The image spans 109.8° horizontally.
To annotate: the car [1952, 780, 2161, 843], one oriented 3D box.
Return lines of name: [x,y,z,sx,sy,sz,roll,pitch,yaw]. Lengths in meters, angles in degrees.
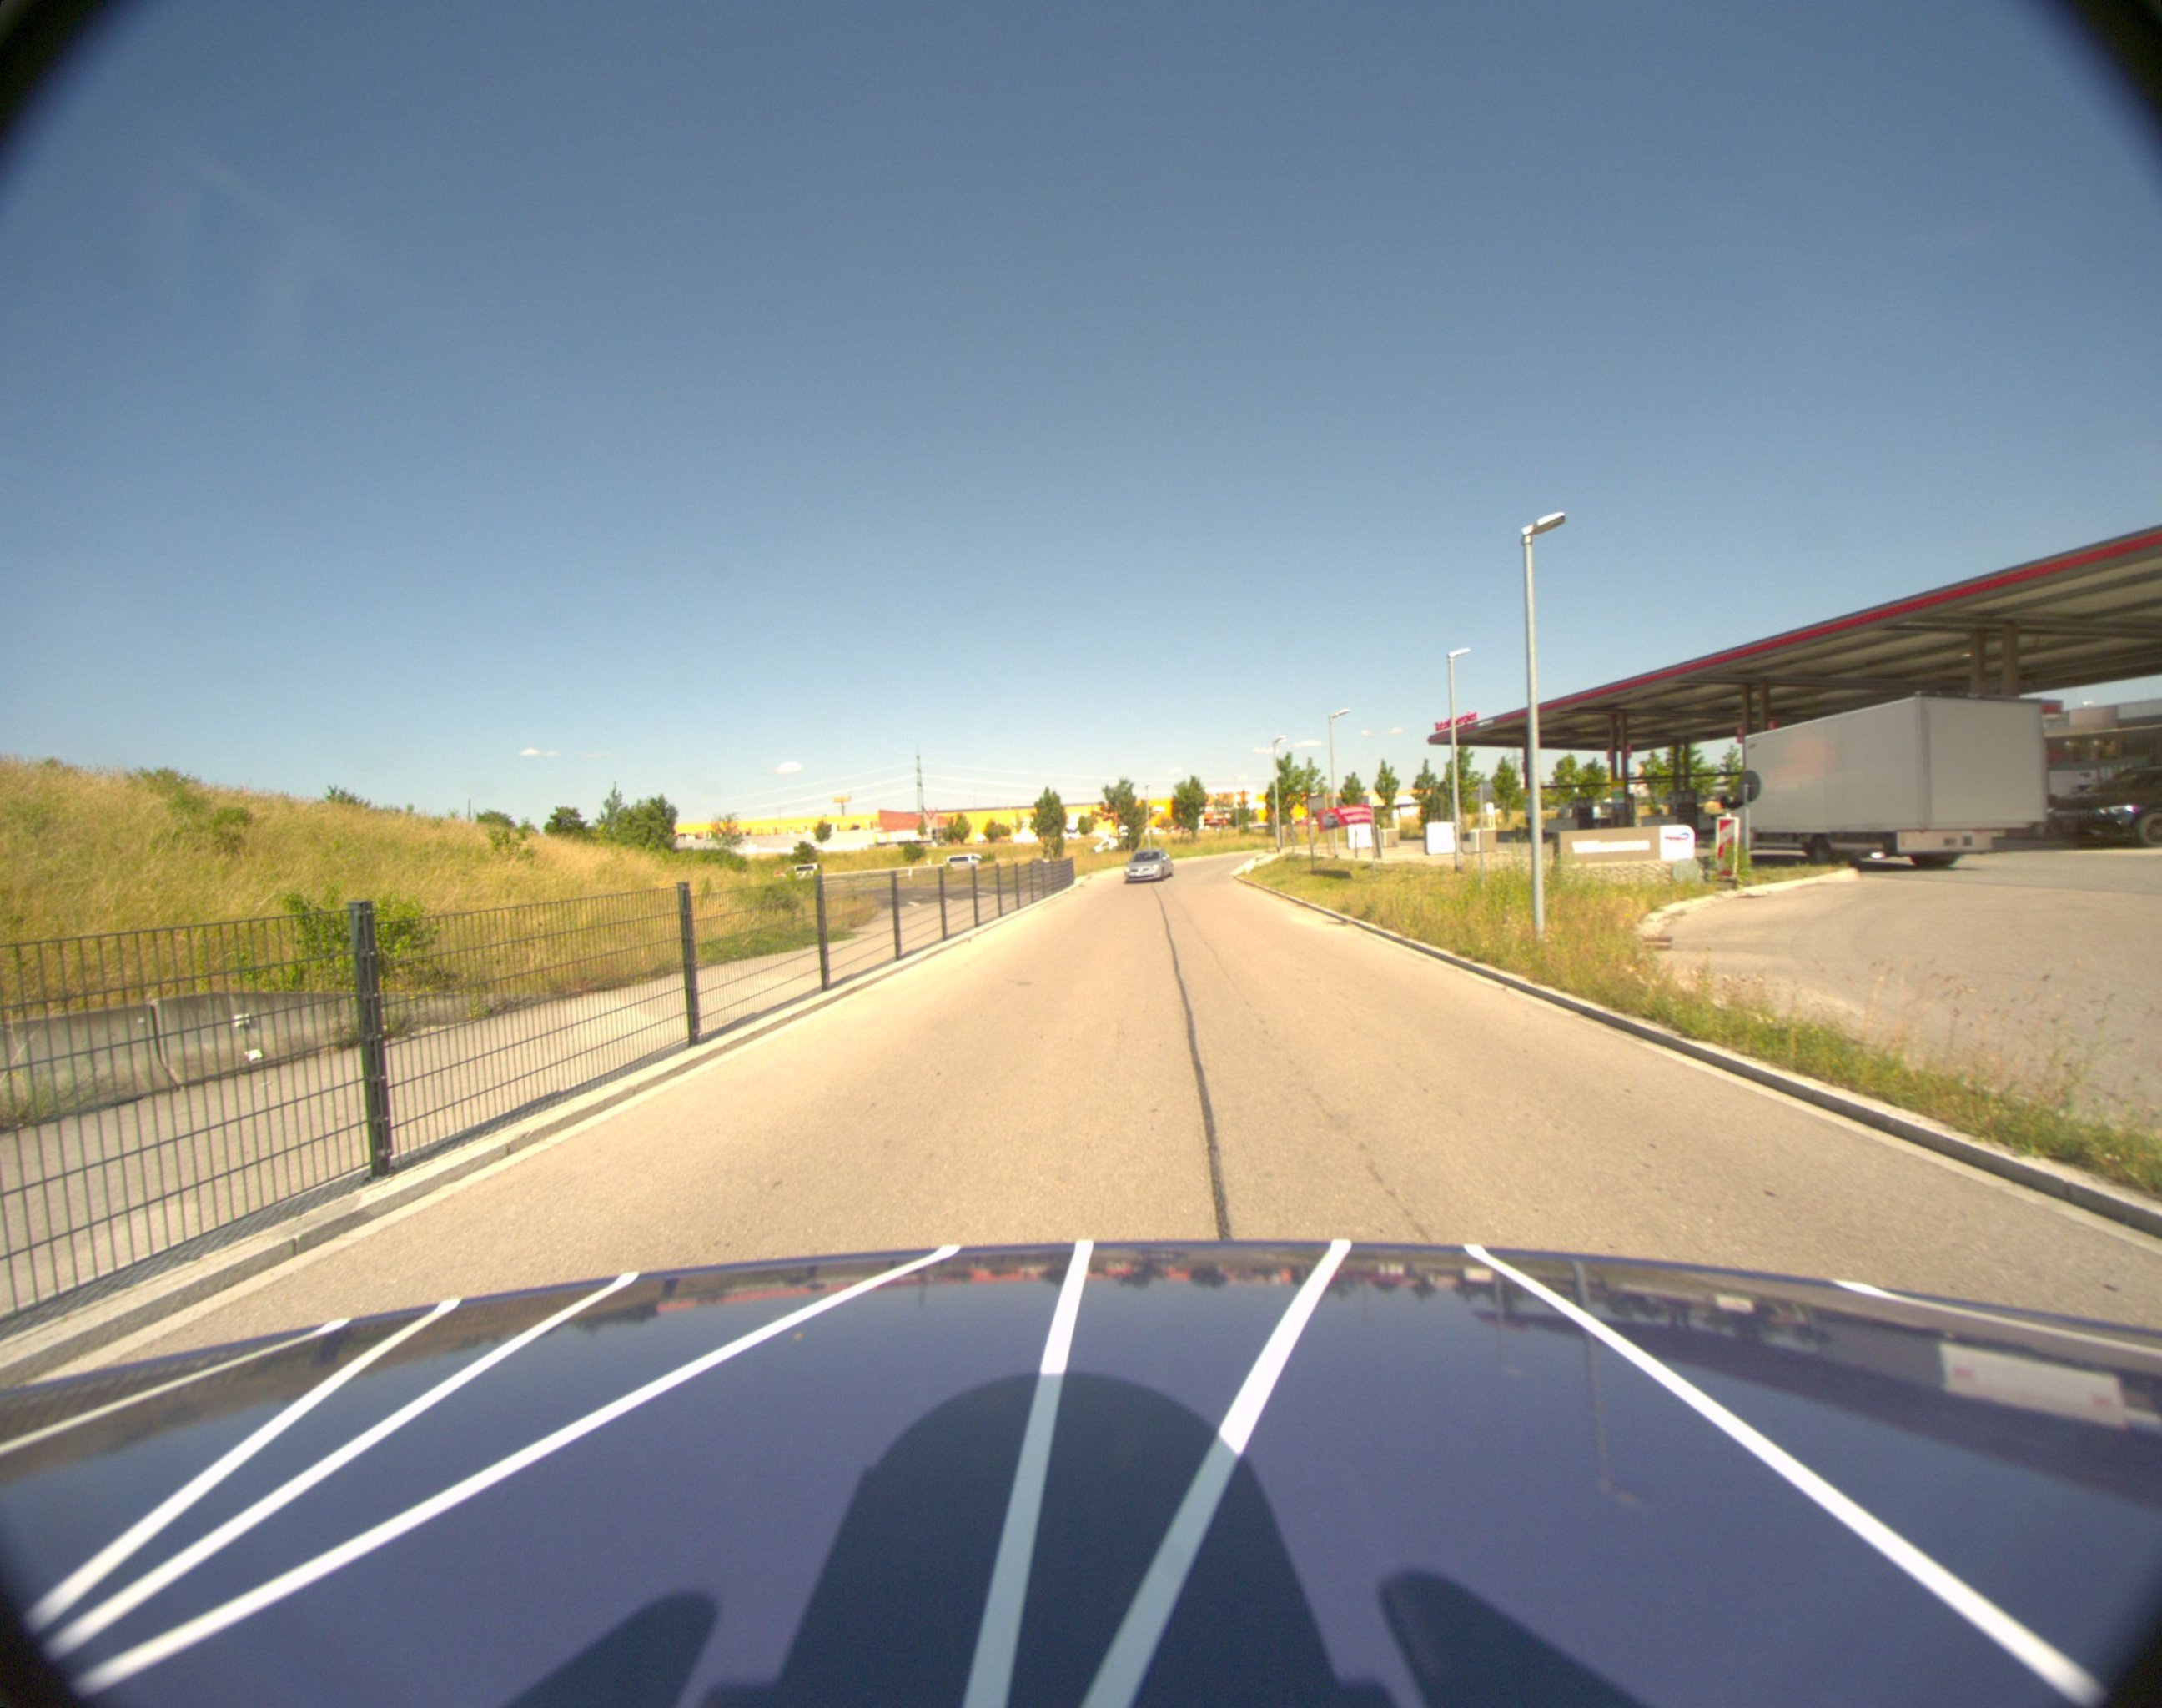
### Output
car: [28.411,-1.202,22.180,3.933,1.565,1.697,-3,1,1]

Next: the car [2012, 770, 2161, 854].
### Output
car: [24.467,-1.016,17.222,4.518,1.748,1.795,-3,1,0]

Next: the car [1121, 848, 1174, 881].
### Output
car: [3.198,0.456,35.794,1.744,1.459,3.965,0,1,17]

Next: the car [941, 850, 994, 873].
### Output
car: [-11.228,0.707,75.098,4.754,2.002,2.000,-3,1,2]

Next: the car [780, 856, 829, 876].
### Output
car: [-31.110,1.345,85.552,4.633,2.002,2.000,-3,1,0]

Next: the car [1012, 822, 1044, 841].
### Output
car: [-8.166,-3.476,117.797,4.633,2.534,2.000,-3,1,0]

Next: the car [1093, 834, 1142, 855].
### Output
car: [4.044,-1.101,84.566,5.252,2.002,1.999,-3,1,-1]

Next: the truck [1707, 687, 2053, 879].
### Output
truck: [17.115,-1.345,17.072,2.636,3.299,6.914,-3,1,22]

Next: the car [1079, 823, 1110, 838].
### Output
car: [2.067,-3.684,117.346,4.633,2.002,2.000,-3,1,0]
